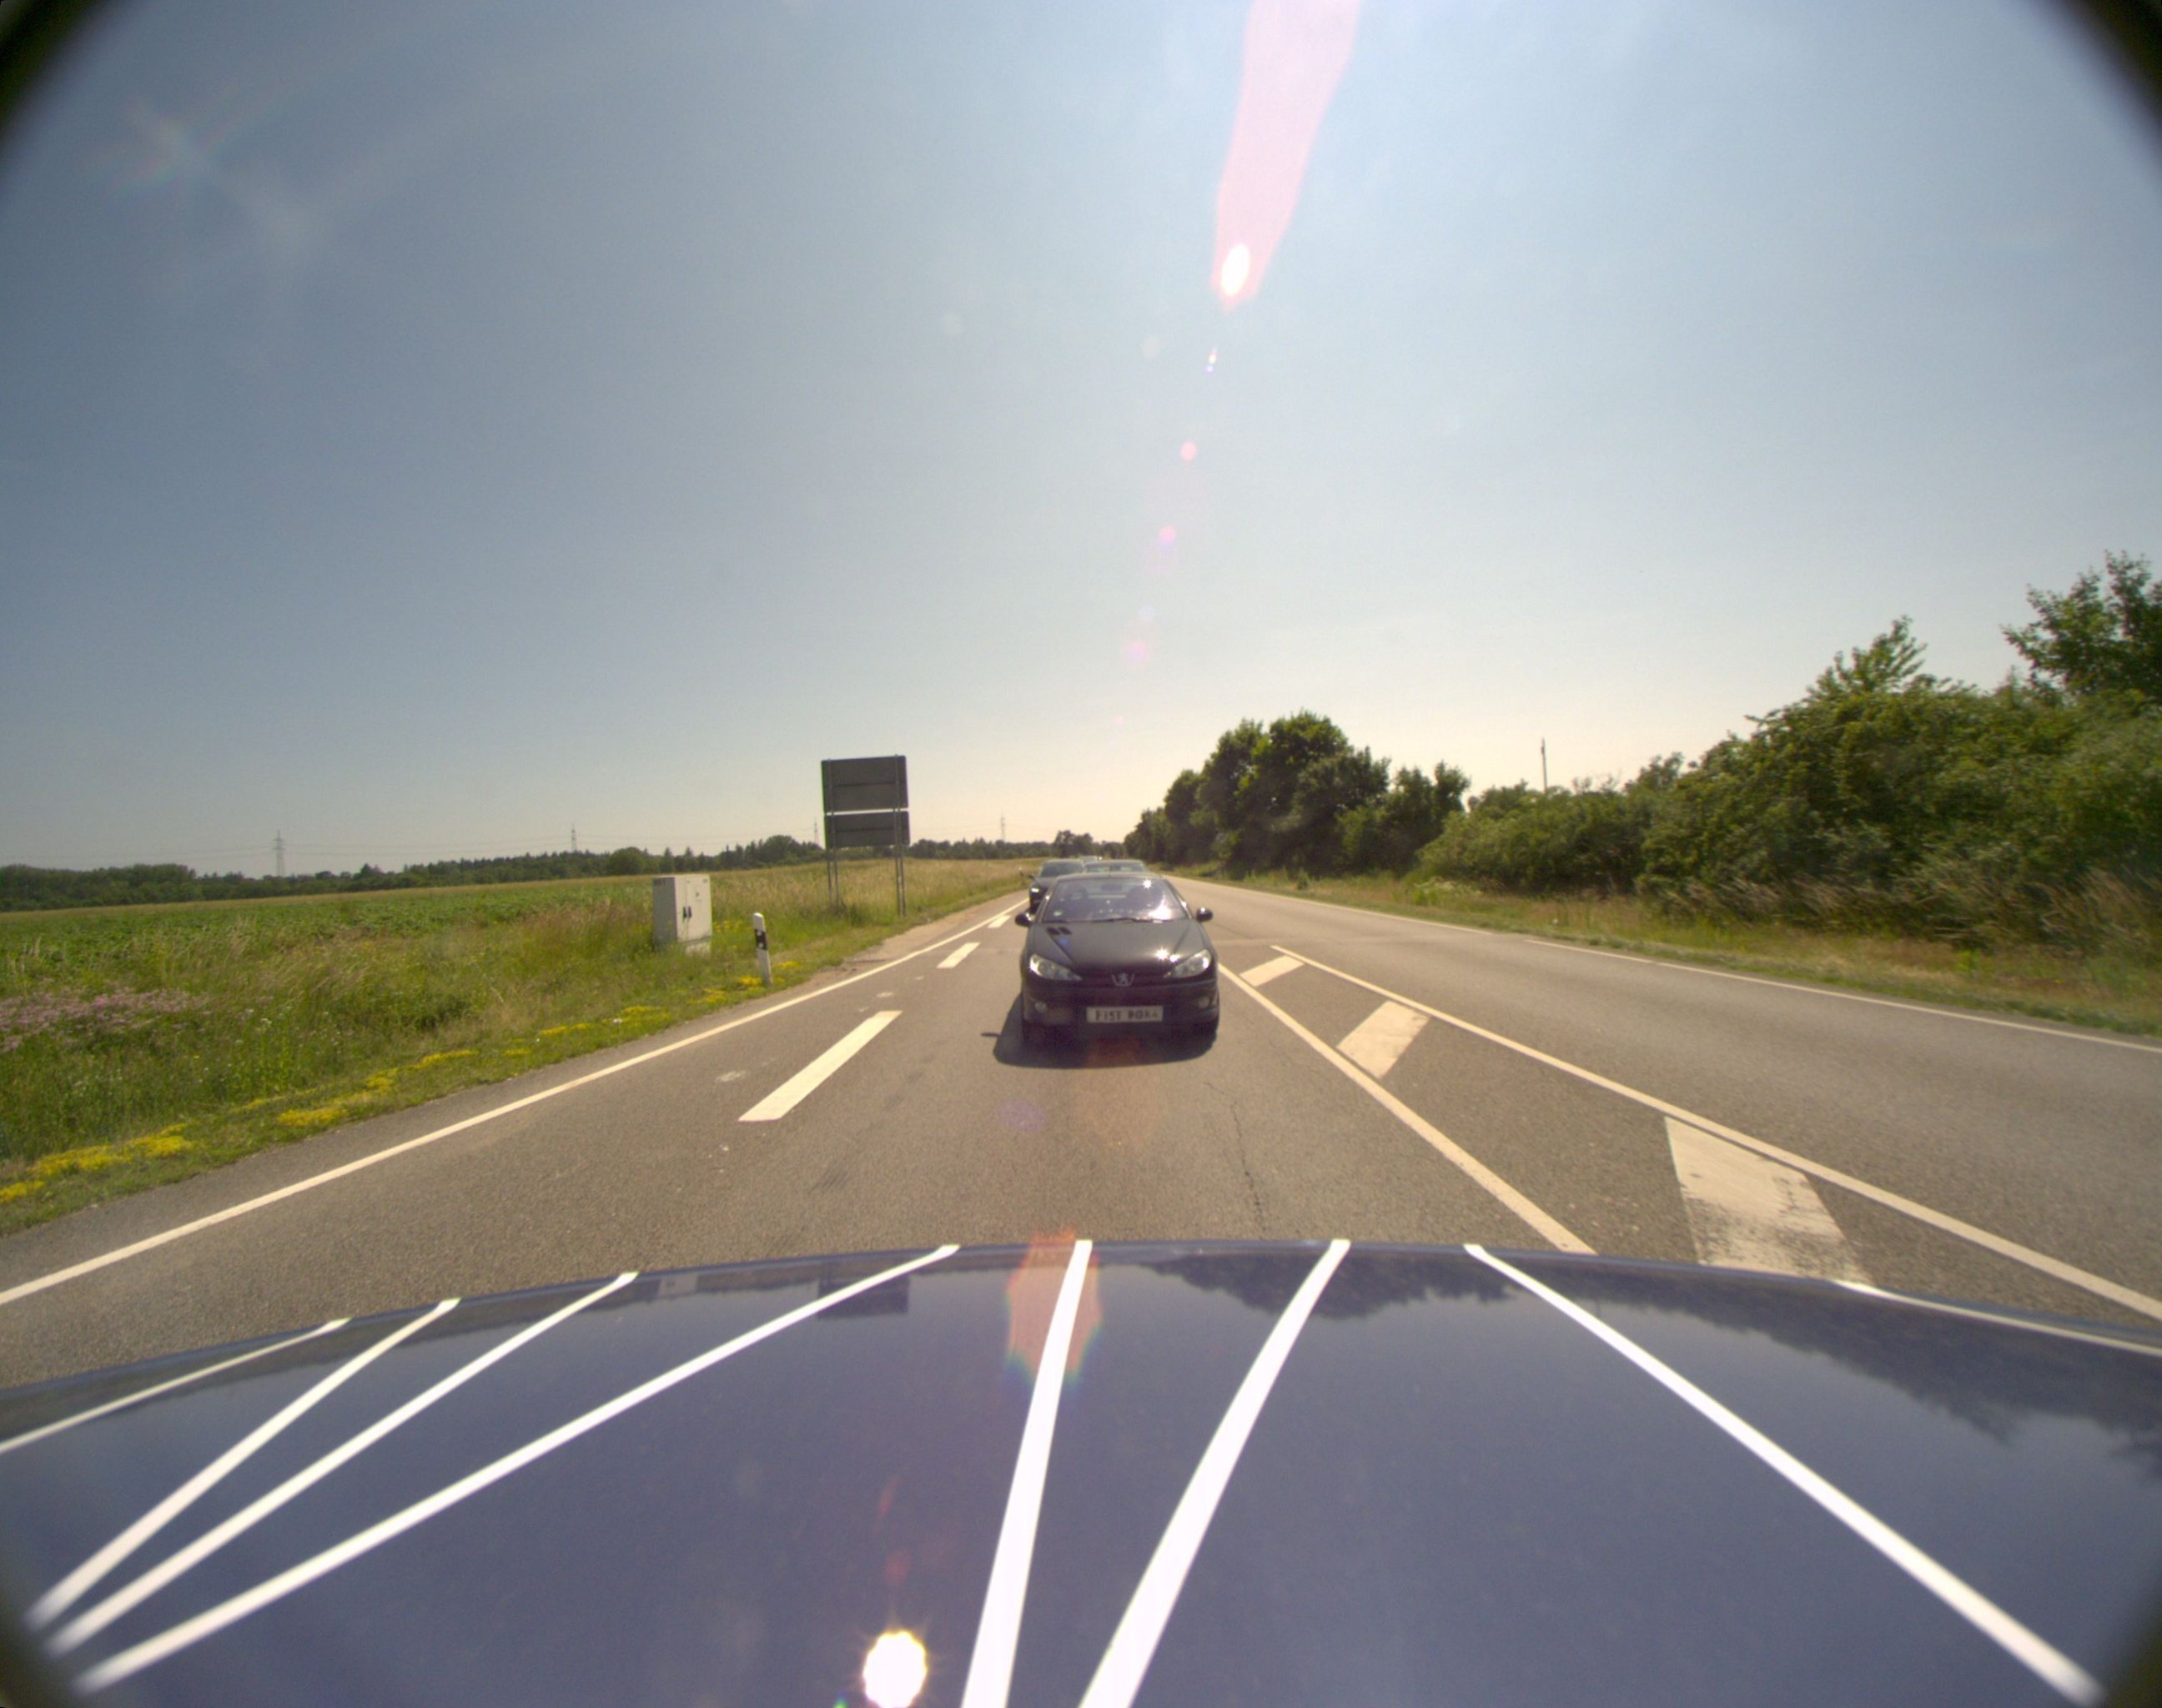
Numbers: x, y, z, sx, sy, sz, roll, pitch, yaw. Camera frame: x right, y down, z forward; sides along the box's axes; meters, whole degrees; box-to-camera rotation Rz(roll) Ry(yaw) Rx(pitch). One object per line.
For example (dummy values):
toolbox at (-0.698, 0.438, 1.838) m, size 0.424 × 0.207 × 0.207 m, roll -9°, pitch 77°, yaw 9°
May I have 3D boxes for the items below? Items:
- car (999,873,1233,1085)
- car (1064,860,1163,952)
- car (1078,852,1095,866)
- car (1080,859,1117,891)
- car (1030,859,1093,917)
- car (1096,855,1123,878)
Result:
car at (0.282, 0.962, 7.424) m, size 1.665 × 1.389 × 3.731 m, roll -2°, pitch 0°, yaw 1°
car at (0.618, 0.911, 14.997) m, size 1.665 × 1.477 × 3.732 m, roll -2°, pitch 0°, yaw 2°
car at (0.521, 0.434, 75.537) m, size 1.588 × 1.294 × 3.631 m, roll -2°, pitch 0°, yaw 1°
car at (0.782, 0.944, 35.149) m, size 1.588 × 1.294 × 3.631 m, roll -2°, pitch 0°, yaw 1°
car at (-0.490, 0.935, 22.661) m, size 1.665 × 1.449 × 4.173 m, roll -2°, pitch 0°, yaw 1°
car at (1.736, 0.779, 47.337) m, size 1.588 × 1.294 × 3.631 m, roll -2°, pitch 0°, yaw 1°
